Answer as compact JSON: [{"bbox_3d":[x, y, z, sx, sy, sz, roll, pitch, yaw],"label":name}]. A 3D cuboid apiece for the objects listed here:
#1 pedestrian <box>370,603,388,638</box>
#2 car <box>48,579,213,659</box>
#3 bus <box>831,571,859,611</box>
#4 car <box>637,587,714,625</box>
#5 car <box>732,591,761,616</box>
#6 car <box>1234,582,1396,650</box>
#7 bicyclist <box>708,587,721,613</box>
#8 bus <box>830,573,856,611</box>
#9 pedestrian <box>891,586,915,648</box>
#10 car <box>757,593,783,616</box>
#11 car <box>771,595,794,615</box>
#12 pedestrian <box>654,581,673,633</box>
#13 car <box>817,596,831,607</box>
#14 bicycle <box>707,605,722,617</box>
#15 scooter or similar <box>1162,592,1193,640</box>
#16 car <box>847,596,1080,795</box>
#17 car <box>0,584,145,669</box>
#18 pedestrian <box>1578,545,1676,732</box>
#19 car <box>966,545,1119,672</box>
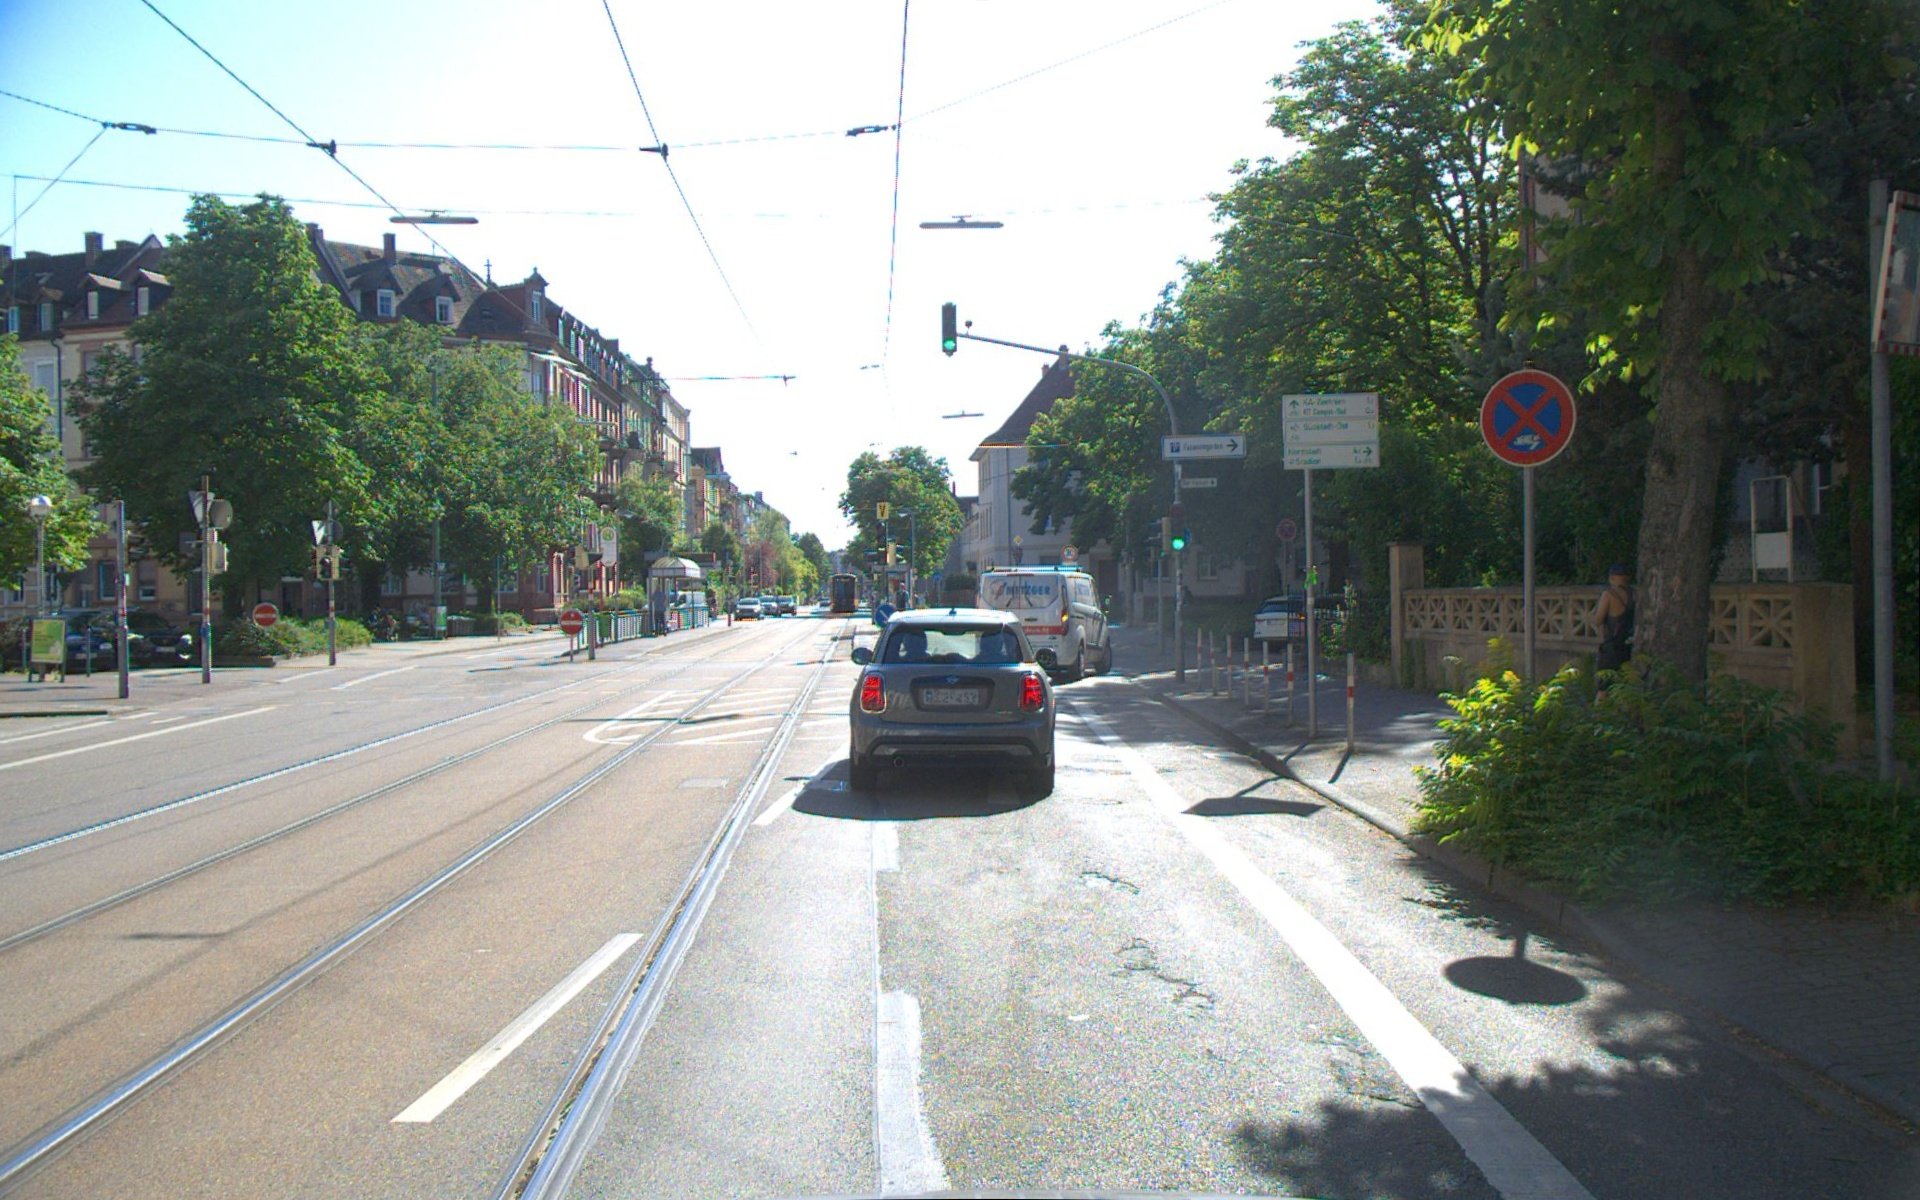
[{"bbox_3d":[-20.823,0.724,59.252,0.569,1.222,0.604,-2,0,-22],"label":"pedestrian"},{"bbox_3d":[-22.061,0.486,43.986,3.909,2.049,1.998,0,-1,27],"label":"car"},{"bbox_3d":[-10.522,-0.785,151.345,2.339,3.558,7.375,0,0,-6],"label":"bus"},{"bbox_3d":[-15.716,0.336,91.635,1.952,2.049,5.030,0,0,20],"label":"car"},{"bbox_3d":[-14.354,0.267,111.514,1.741,1.646,3.996,0,0,-5],"label":"car"},{"bbox_3d":[9.068,0.402,42.127,3.957,1.646,1.974,0,-1,-37],"label":"car"},{"bbox_3d":[-16.060,0.016,108.091,0.699,1.694,0.734,0,-1,0],"label":"bicyclist"},{"bbox_3d":[-11.237,-0.725,158.721,2.339,3.558,7.375,0,0,-6],"label":"bus"},{"bbox_3d":[-1.928,0.571,55.836,0.779,2.049,0.740,0,-1,-3],"label":"pedestrian"},{"bbox_3d":[-13.953,0.317,121.635,1.741,1.646,3.996,0,0,-5],"label":"car"},{"bbox_3d":[-14.448,0.426,134.546,1.741,1.646,3.996,0,0,-5],"label":"car"},{"bbox_3d":[-10.696,0.253,59.612,0.569,1.826,0.605,-1,0,-19],"label":"pedestrian"},{"bbox_3d":[-19.964,0.253,242.759,1.954,1.624,3.996,0,0,-5],"label":"car"},{"bbox_3d":[-16.059,0.709,108.118,0.704,0.763,1.916,0,0,1],"label":"bicycle"},{"bbox_3d":[6.149,0.443,46.883,0.662,1.333,1.328,0,0,-2],"label":"scooter or similar"},{"bbox_3d":[-0.020,0.740,14.625,1.779,1.514,3.999,0,0,-2],"label":"car"},{"bbox_3d":[-22.773,0.649,41.775,3.909,2.049,1.998,0,-1,27],"label":"car"},{"bbox_3d":[6.288,0.357,15.610,0.580,1.700,0.646,-2,-1,-2],"label":"pedestrian"},{"bbox_3d":[1.687,0.170,31.907,2.073,2.247,4.948,0,0,13],"label":"car"}]
